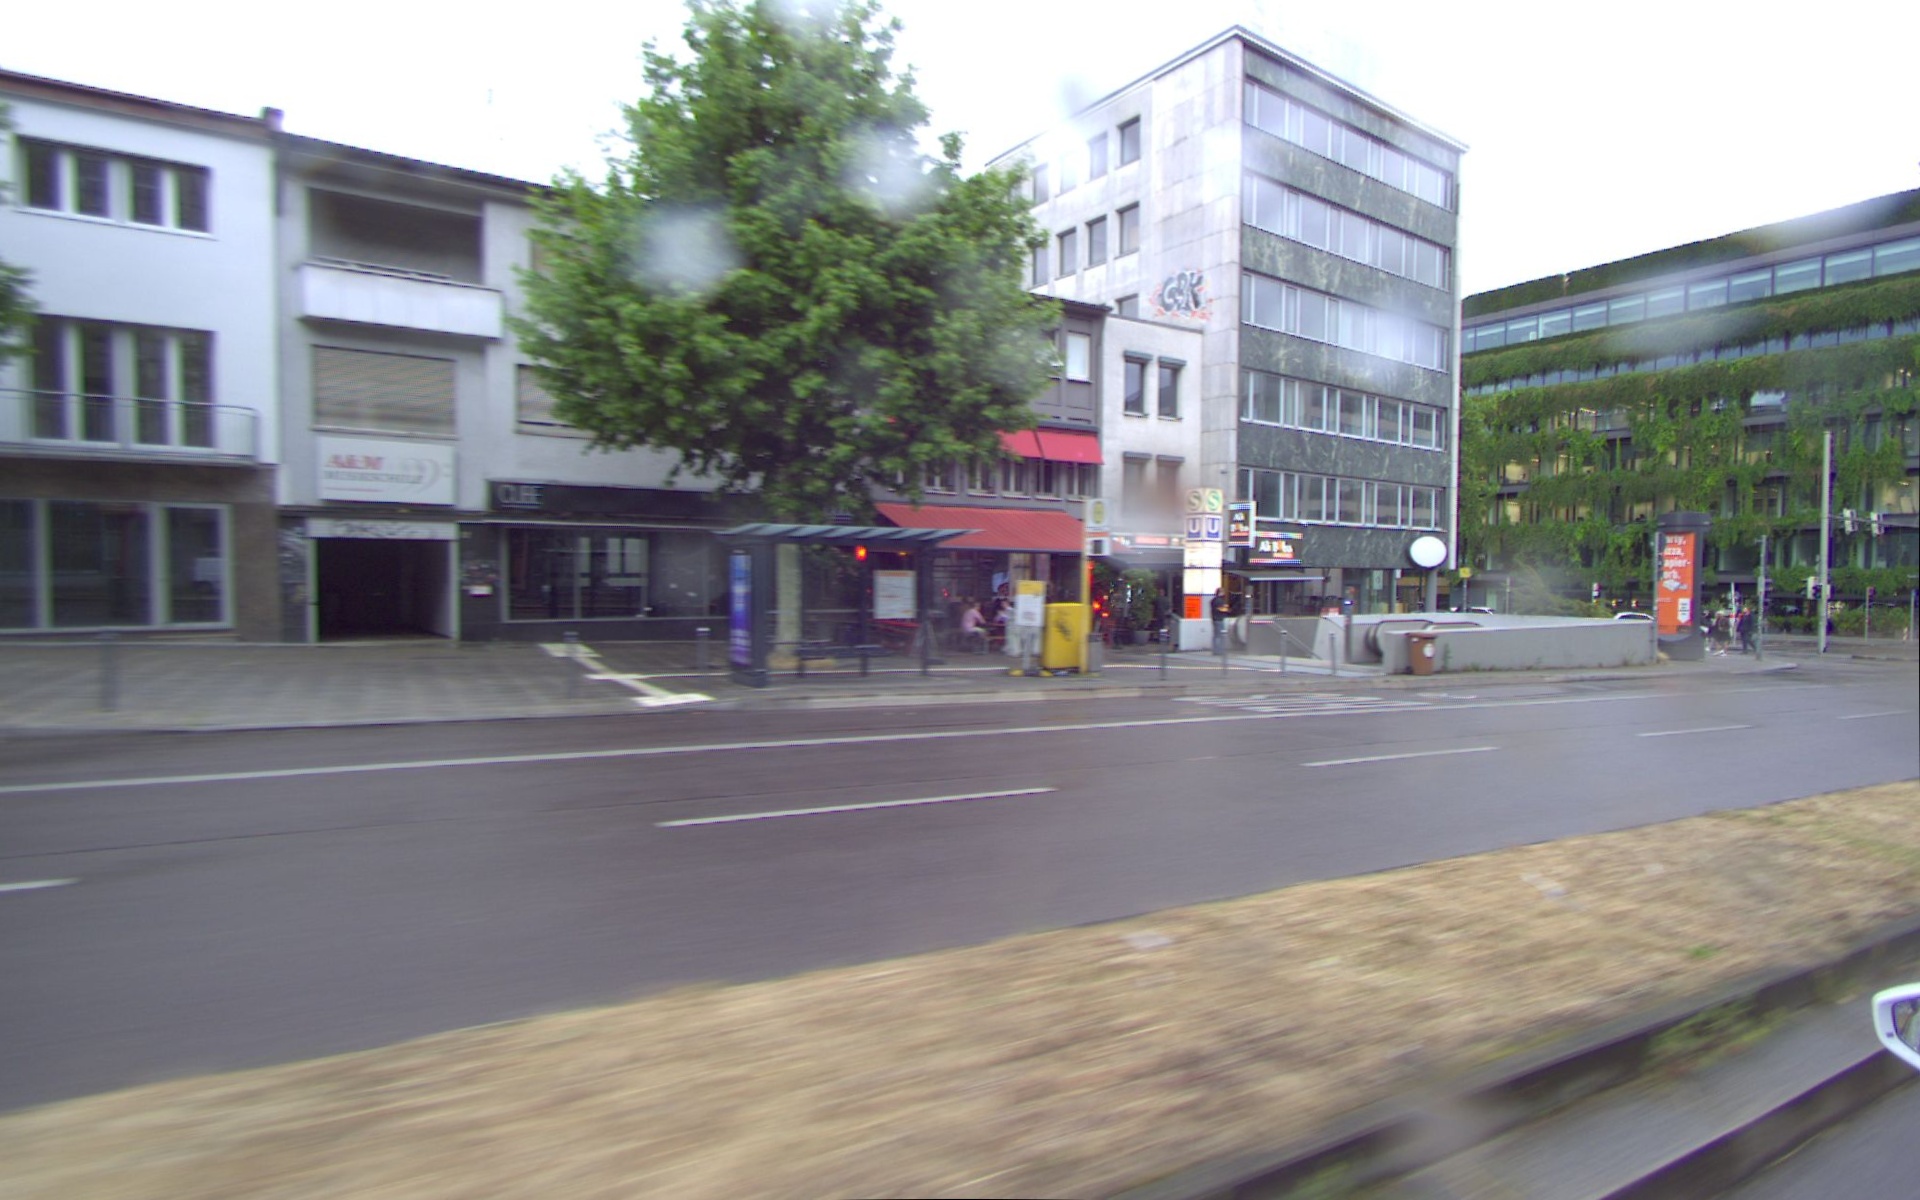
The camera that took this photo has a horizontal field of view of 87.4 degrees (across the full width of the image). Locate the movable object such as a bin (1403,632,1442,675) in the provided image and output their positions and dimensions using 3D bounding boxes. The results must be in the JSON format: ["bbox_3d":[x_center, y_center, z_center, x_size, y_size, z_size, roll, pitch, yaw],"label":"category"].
[{"bbox_3d":[10.060,1.159,21.858,0.677,0.909,0.527,1,-1,-39],"label":"movable object such as a bin"}]

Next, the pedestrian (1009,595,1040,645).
[{"bbox_3d":[1.920,0.598,29.890,0.685,1.470,0.628,1,1,-36],"label":"pedestrian"}]

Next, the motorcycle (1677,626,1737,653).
[{"bbox_3d":[36.067,1.882,48.523,2.204,1.227,0.843,1,0,45],"label":"motorcycle"}]

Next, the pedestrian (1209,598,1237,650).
[{"bbox_3d":[9.762,0.874,37.298,0.586,1.910,0.750,1,1,-36],"label":"pedestrian"}]

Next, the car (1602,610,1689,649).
[{"bbox_3d":[35.954,1.511,52.726,1.985,1.948,3.417,1,0,-42],"label":"car"}]

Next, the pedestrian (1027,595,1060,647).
[{"bbox_3d":[2.414,0.601,29.143,0.685,1.470,0.628,1,1,-36],"label":"pedestrian"}]

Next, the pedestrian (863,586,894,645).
[{"bbox_3d":[-2.241,0.424,27.687,0.600,1.591,0.591,1,0,-39],"label":"pedestrian"}]

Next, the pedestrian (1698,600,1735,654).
[{"bbox_3d":[27.457,0.976,36.459,0.858,1.910,0.800,1,-4,-36],"label":"pedestrian"}]

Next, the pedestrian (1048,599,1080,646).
[{"bbox_3d":[3.070,0.668,29.708,0.685,1.362,0.628,1,1,-36],"label":"pedestrian"}]

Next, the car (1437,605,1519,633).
[{"bbox_3d":[30.479,1.095,59.173,1.858,1.543,3.856,1,0,-42],"label":"car"}]

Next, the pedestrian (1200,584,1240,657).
[{"bbox_3d":[6.952,0.547,26.829,0.750,1.910,0.685,1,1,-34],"label":"pedestrian"}]

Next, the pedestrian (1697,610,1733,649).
[{"bbox_3d":[31.207,1.226,41.505,0.912,1.606,0.828,0,-3,-30],"label":"pedestrian"}]

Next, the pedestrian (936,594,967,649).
[{"bbox_3d":[-0.243,0.585,27.688,0.541,1.470,0.685,1,1,-34],"label":"pedestrian"}]

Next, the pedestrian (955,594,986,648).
[{"bbox_3d":[0.292,0.571,28.028,0.577,1.470,0.685,1,1,-33],"label":"pedestrian"}]

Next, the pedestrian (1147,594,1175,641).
[{"bbox_3d":[6.297,0.541,31.473,0.582,1.470,0.598,1,1,-35],"label":"pedestrian"}]

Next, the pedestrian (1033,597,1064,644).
[{"bbox_3d":[2.668,0.613,30.385,0.685,1.374,0.628,1,1,-36],"label":"pedestrian"}]

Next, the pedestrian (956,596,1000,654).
[{"bbox_3d":[0.462,0.638,26.027,0.905,1.470,0.685,1,1,-34],"label":"pedestrian"}]

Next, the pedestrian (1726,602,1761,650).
[{"bbox_3d":[31.761,1.076,40.731,0.887,1.910,0.781,0,-3,-30],"label":"pedestrian"}]

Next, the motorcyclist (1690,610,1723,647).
[{"bbox_3d":[36.063,1.351,48.531,1.173,1.725,0.843,1,0,44],"label":"motorcyclist"}]

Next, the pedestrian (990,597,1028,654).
[{"bbox_3d":[1.300,0.675,26.619,0.700,1.470,0.685,1,1,-34],"label":"pedestrian"}]

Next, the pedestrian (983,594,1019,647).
[{"bbox_3d":[1.165,0.577,28.589,0.685,1.470,0.721,1,1,-36],"label":"pedestrian"}]
